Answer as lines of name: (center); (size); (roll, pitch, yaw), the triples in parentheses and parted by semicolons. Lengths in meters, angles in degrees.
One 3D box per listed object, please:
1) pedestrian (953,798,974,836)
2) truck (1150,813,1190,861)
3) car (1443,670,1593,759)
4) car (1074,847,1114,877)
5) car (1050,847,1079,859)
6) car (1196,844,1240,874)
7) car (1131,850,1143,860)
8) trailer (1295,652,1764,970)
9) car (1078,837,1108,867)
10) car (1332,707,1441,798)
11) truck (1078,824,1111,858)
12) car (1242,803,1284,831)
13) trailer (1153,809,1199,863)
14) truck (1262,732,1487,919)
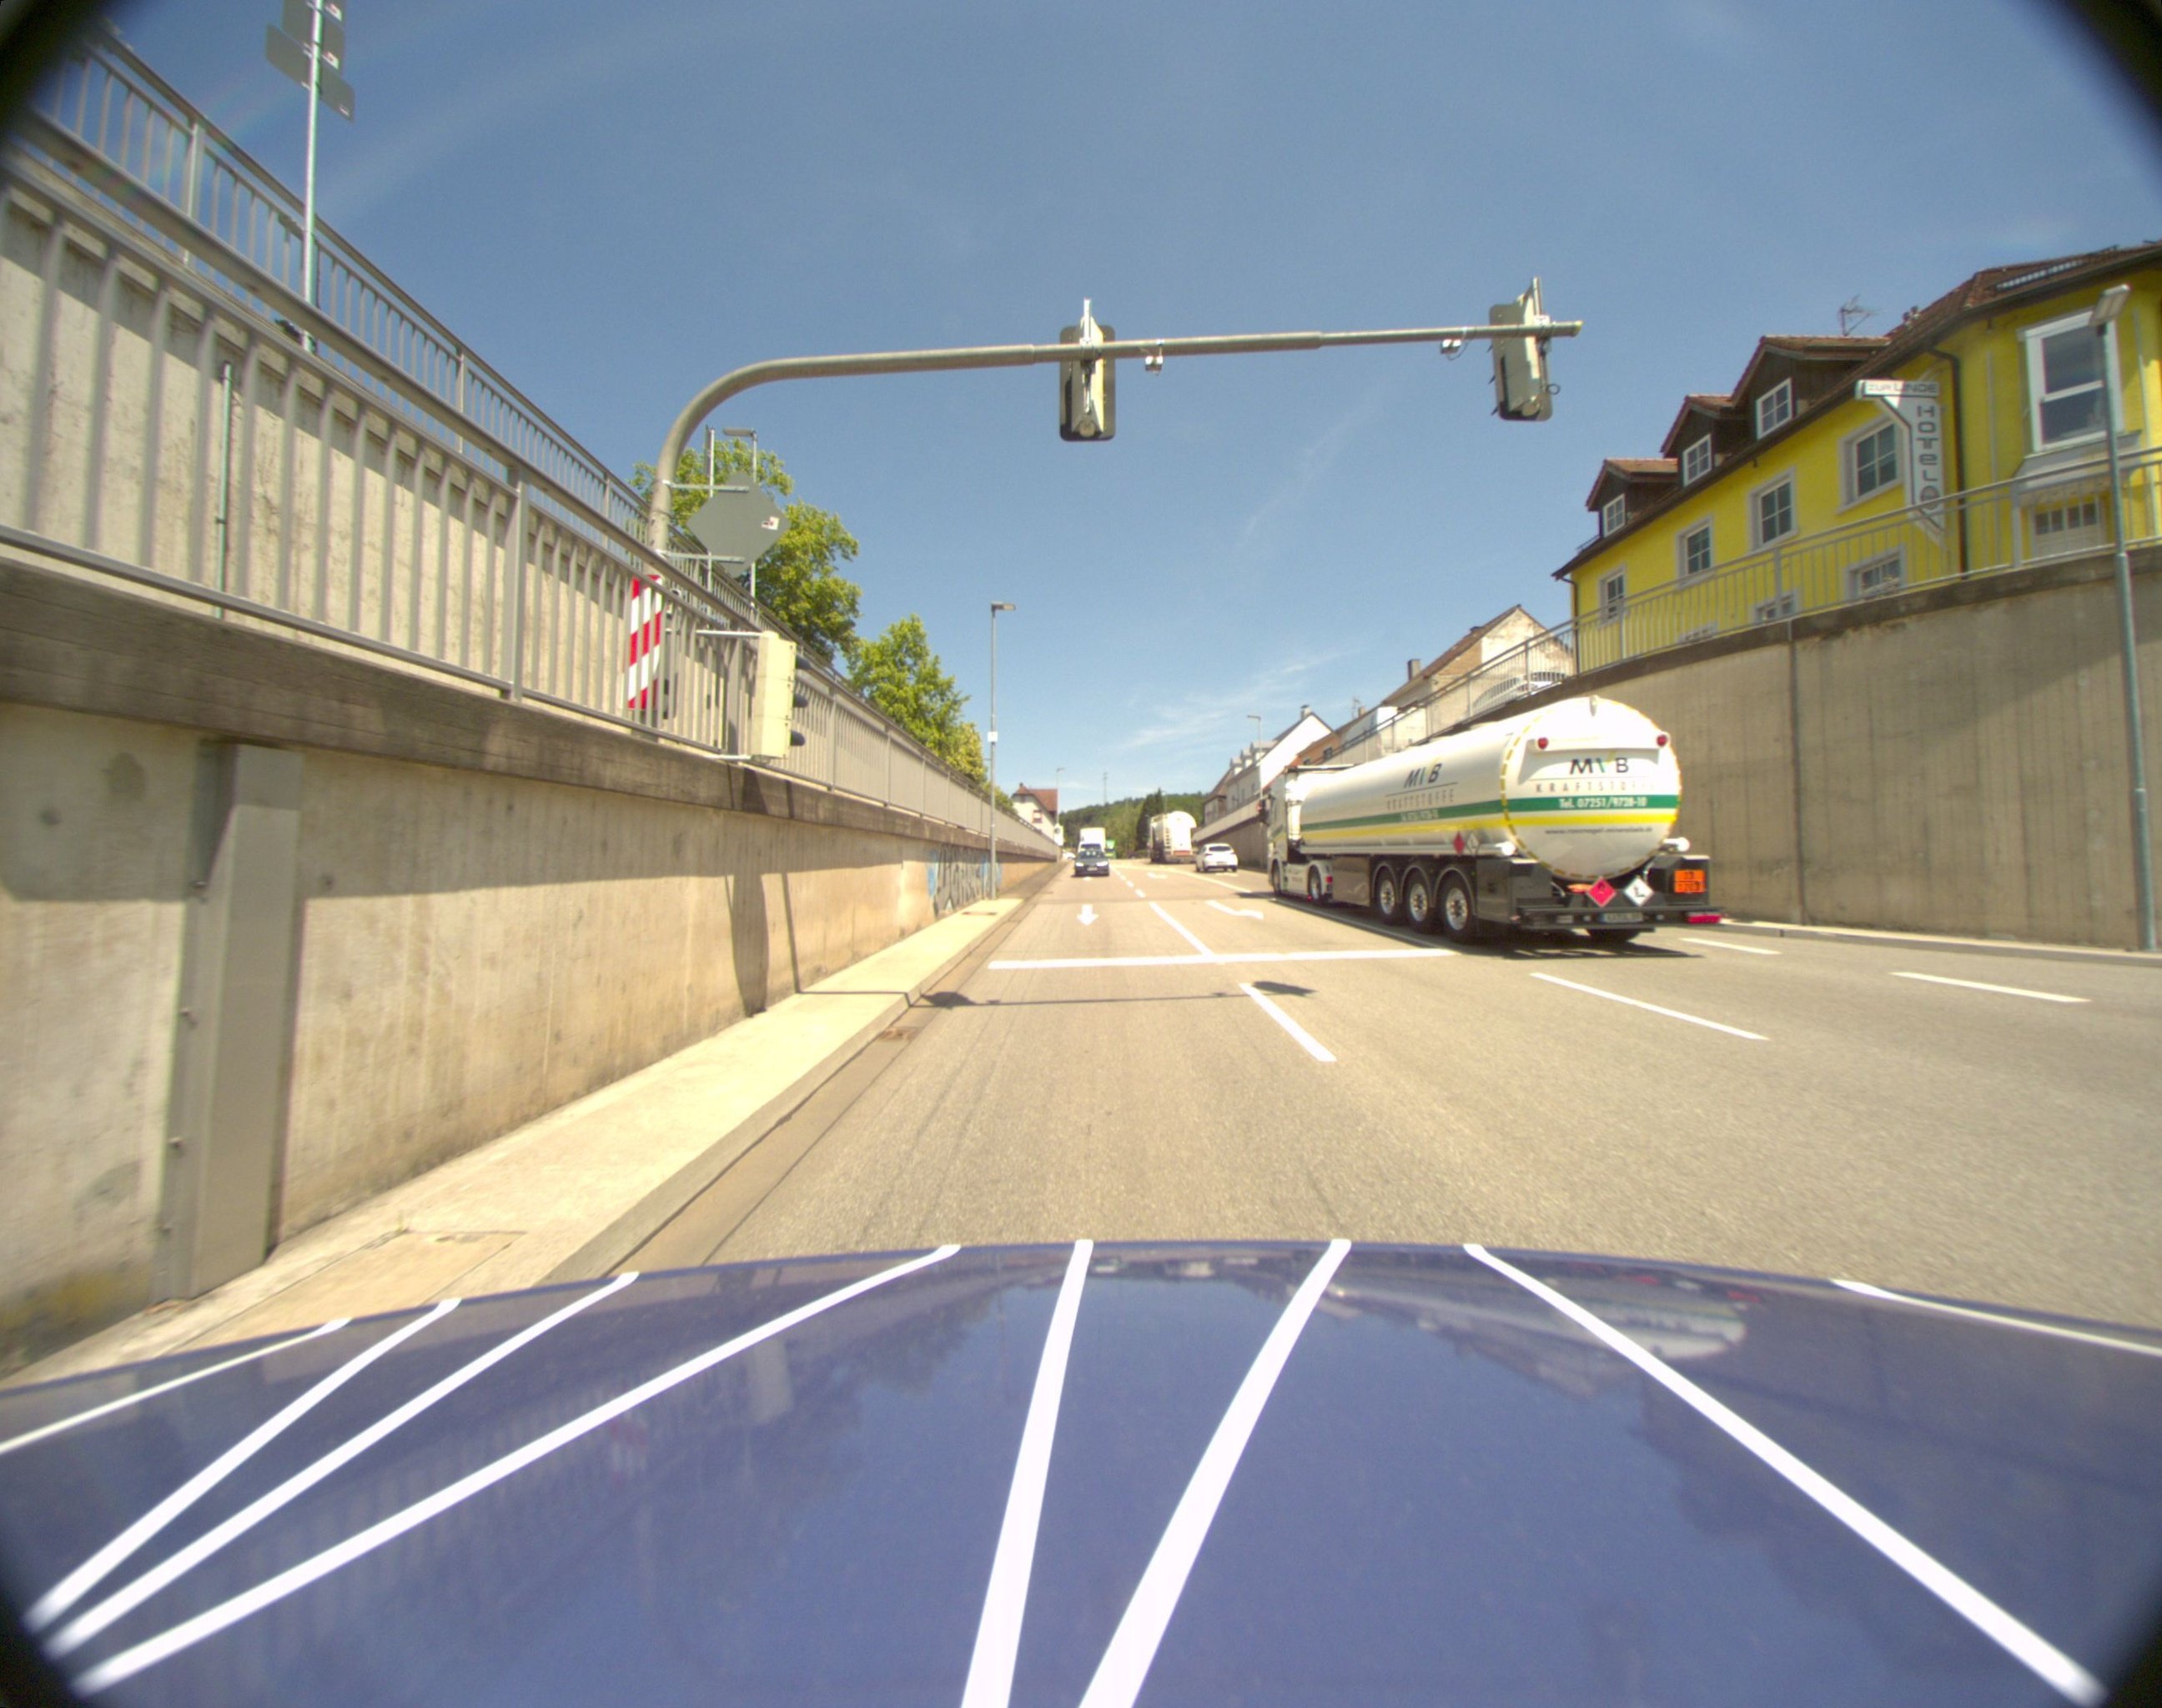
pedestrian: (-5.524, -1.731, 35.677); (0.838, 1.771, 0.788); (0, 1, 1)
truck: (7.470, -1.420, 64.528); (2.668, 3.838, 6.579); (-1, 1, 1)
car: (11.807, -3.716, 20.871); (1.623, 1.491, 4.045); (-2, -2, -2)
car: (0.636, 0.388, 40.146); (1.864, 1.441, 3.998); (-1, 1, -2)
car: (-2.219, -0.157, 100.072); (3.680, 1.469, 1.775); (1, -1, -4)
car: (7.196, 0.229, 40.344); (1.686, 1.432, 4.093); (-1, 1, 1)
car: (8.615, 0.168, 116.842); (1.765, 1.480, 4.368); (-1, 1, 3)
trailer: (6.672, -0.546, 13.874); (2.696, 3.642, 9.887); (-2, 1, 0)
car: (0.891, -0.192, 54.595); (1.998, 2.002, 4.548); (-2, 1, 2)
car: (11.752, -3.814, 29.746); (2.070, 2.520, 5.664); (-2, -2, 2)
truck: (1.415, -1.421, 83.235); (3.150, 3.467, 8.268); (-1, 1, -2)
car: (12.360, -2.493, 51.875); (1.818, 1.453, 4.311); (-2, -2, 1)
trailer: (7.389, -1.399, 60.077); (2.616, 3.942, 9.345); (-1, 1, 1)
truck: (6.745, -0.597, 18.849); (2.696, 3.642, 7.368); (-2, 1, 0)
